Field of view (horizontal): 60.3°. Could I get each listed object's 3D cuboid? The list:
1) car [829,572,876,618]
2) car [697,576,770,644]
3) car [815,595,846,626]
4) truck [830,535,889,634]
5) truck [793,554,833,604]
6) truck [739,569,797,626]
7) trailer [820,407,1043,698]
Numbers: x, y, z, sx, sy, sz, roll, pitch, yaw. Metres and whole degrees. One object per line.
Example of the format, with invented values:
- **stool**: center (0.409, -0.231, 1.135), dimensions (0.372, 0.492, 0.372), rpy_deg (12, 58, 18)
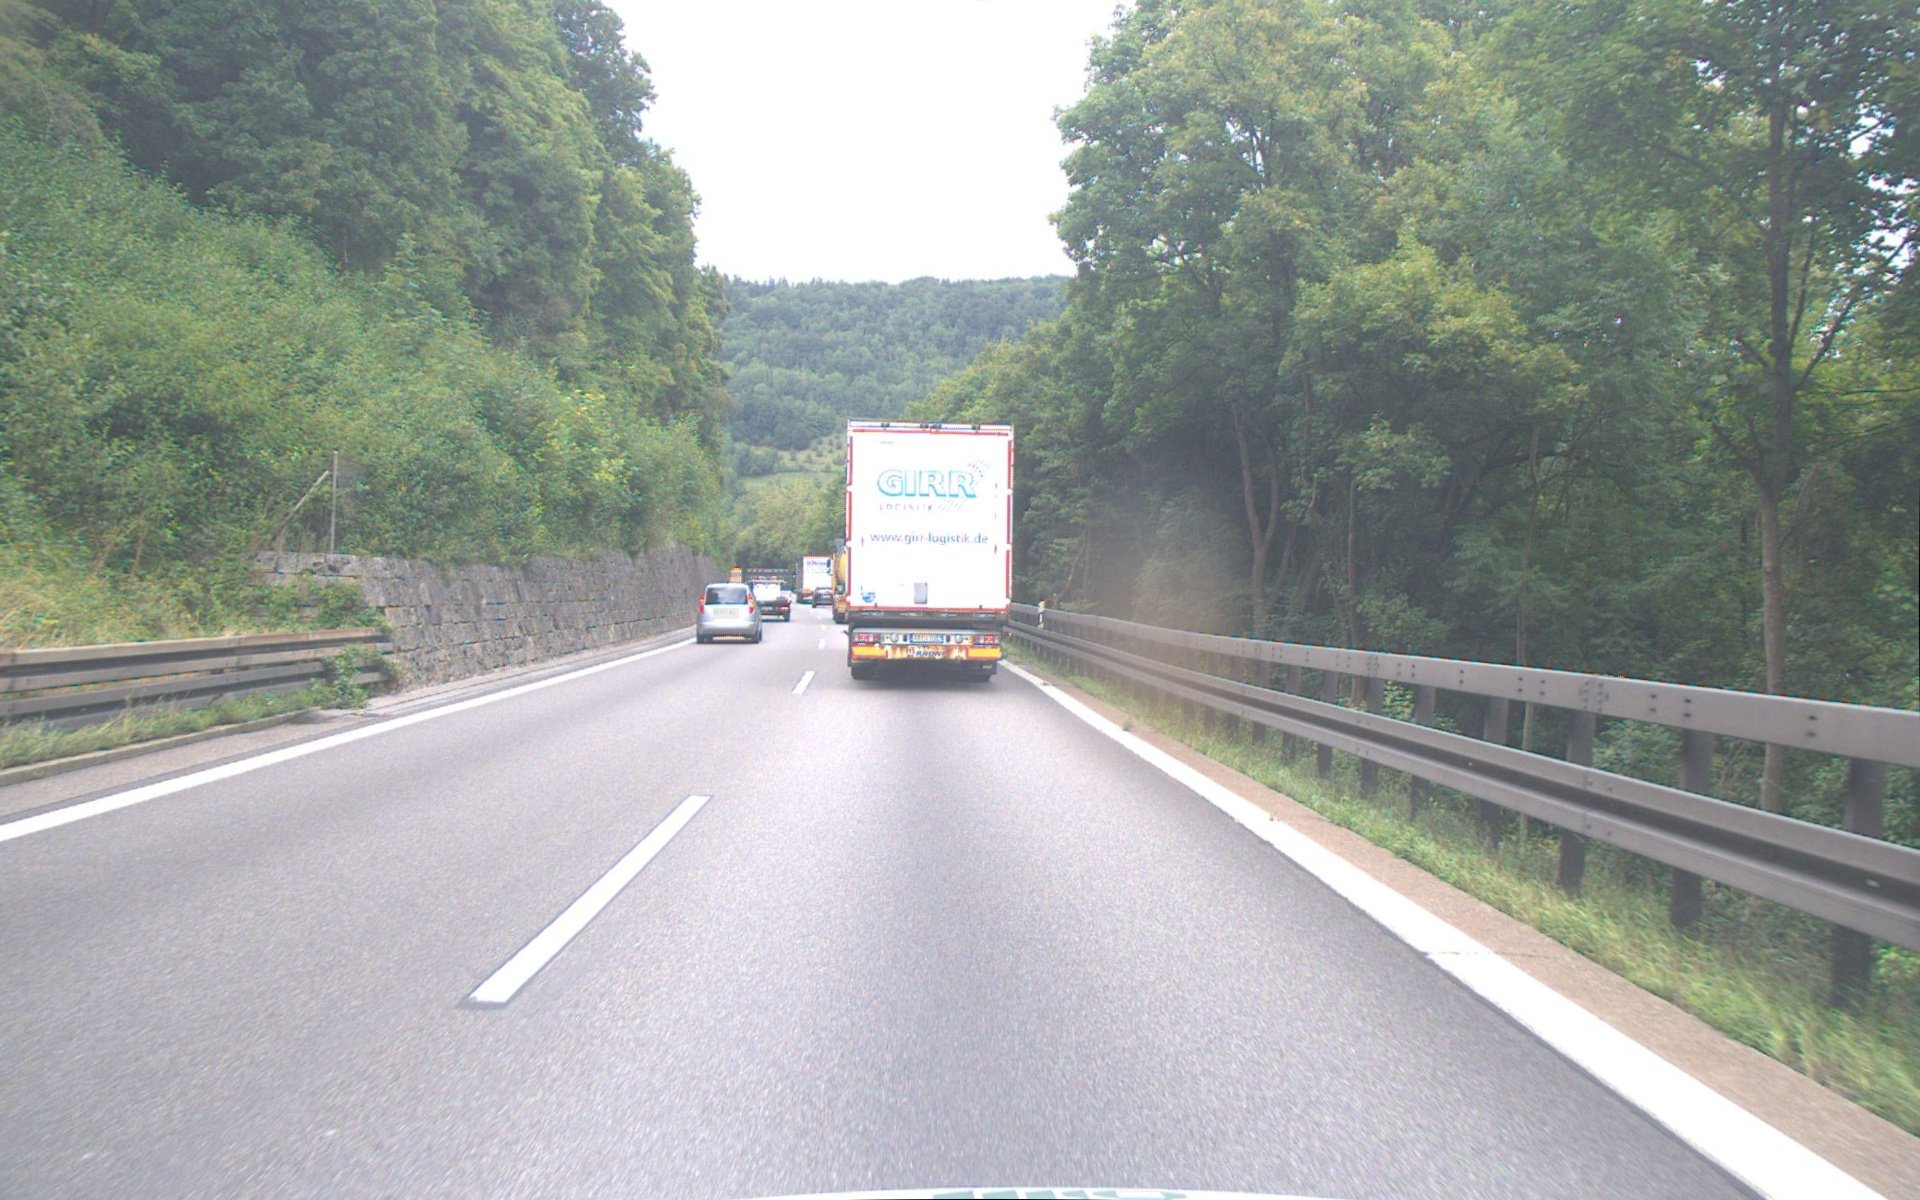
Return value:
- **car**: center (-5.136, -0.232, 78.420), dimensions (1.955, 2.049, 4.327), rpy_deg (3, 0, -6)
- **car**: center (-6.228, 0.254, 45.874), dimensions (1.601, 1.757, 4.342), rpy_deg (1, 0, -3)
- **car**: center (-9.087, 0.745, 116.031), dimensions (1.955, 2.049, 3.994), rpy_deg (3, 0, -6)
- **truck**: center (-4.292, -0.629, 69.902), dimensions (2.190, 3.870, 6.816), rpy_deg (3, 0, -5)
- **truck**: center (-12.495, -1.705, 140.213), dimensions (3.010, 3.945, 8.447), rpy_deg (3, 0, -6)
- **truck**: center (-8.457, -0.133, 73.283), dimensions (2.303, 2.313, 6.842), rpy_deg (3, 0, -5)
- **trailer**: center (-0.669, -0.737, 29.321), dimensions (3.071, 4.112, 9.434), rpy_deg (4, 0, -3)
